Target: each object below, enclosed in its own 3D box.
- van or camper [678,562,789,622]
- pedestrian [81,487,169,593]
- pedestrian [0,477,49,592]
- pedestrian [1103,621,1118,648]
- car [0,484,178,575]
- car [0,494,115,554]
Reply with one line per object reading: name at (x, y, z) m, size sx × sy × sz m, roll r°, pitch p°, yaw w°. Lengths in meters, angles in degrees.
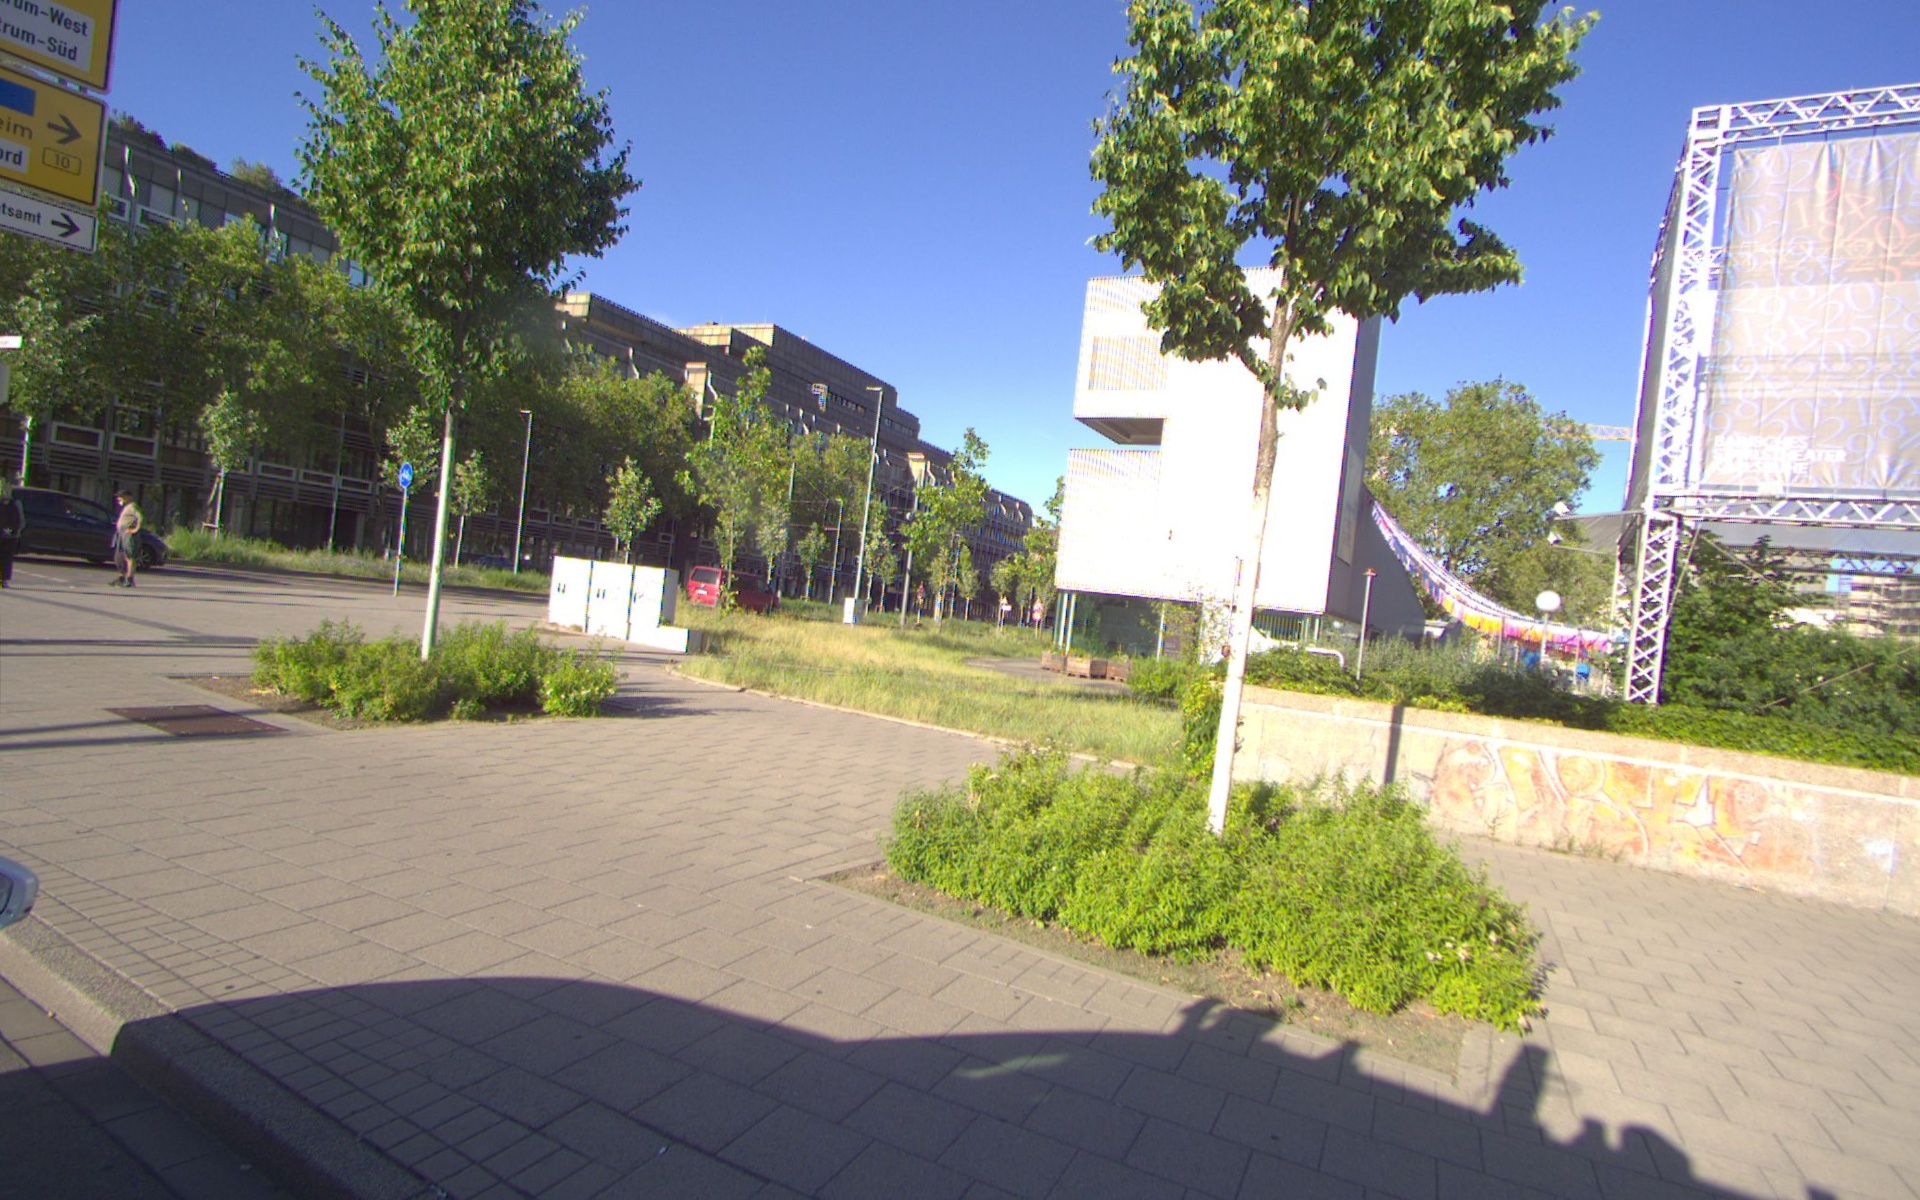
van or camper at (-9.646, -0.279, 43.227) m, size 1.971 × 2.038 × 4.840 m, roll 7°, pitch -1°, yaw 24°
pedestrian at (-14.901, -1.062, 17.952) m, size 0.755 × 1.728 × 0.873 m, roll 7°, pitch 1°, yaw 30°
pedestrian at (-14.280, -0.999, 14.955) m, size 0.859 × 1.634 × 0.767 m, roll 7°, pitch 1°, yaw 30°
pedestrian at (9.156, 2.096, 61.210) m, size 0.520 × 1.571 × 0.638 m, roll 7°, pitch -1°, yaw 31°
car at (-19.264, -1.540, 21.299) m, size 1.641 × 1.528 × 3.872 m, roll 7°, pitch -1°, yaw 23°
car at (-33.140, -2.772, 35.776) m, size 1.792 × 1.704 × 4.302 m, roll 7°, pitch -1°, yaw 21°
